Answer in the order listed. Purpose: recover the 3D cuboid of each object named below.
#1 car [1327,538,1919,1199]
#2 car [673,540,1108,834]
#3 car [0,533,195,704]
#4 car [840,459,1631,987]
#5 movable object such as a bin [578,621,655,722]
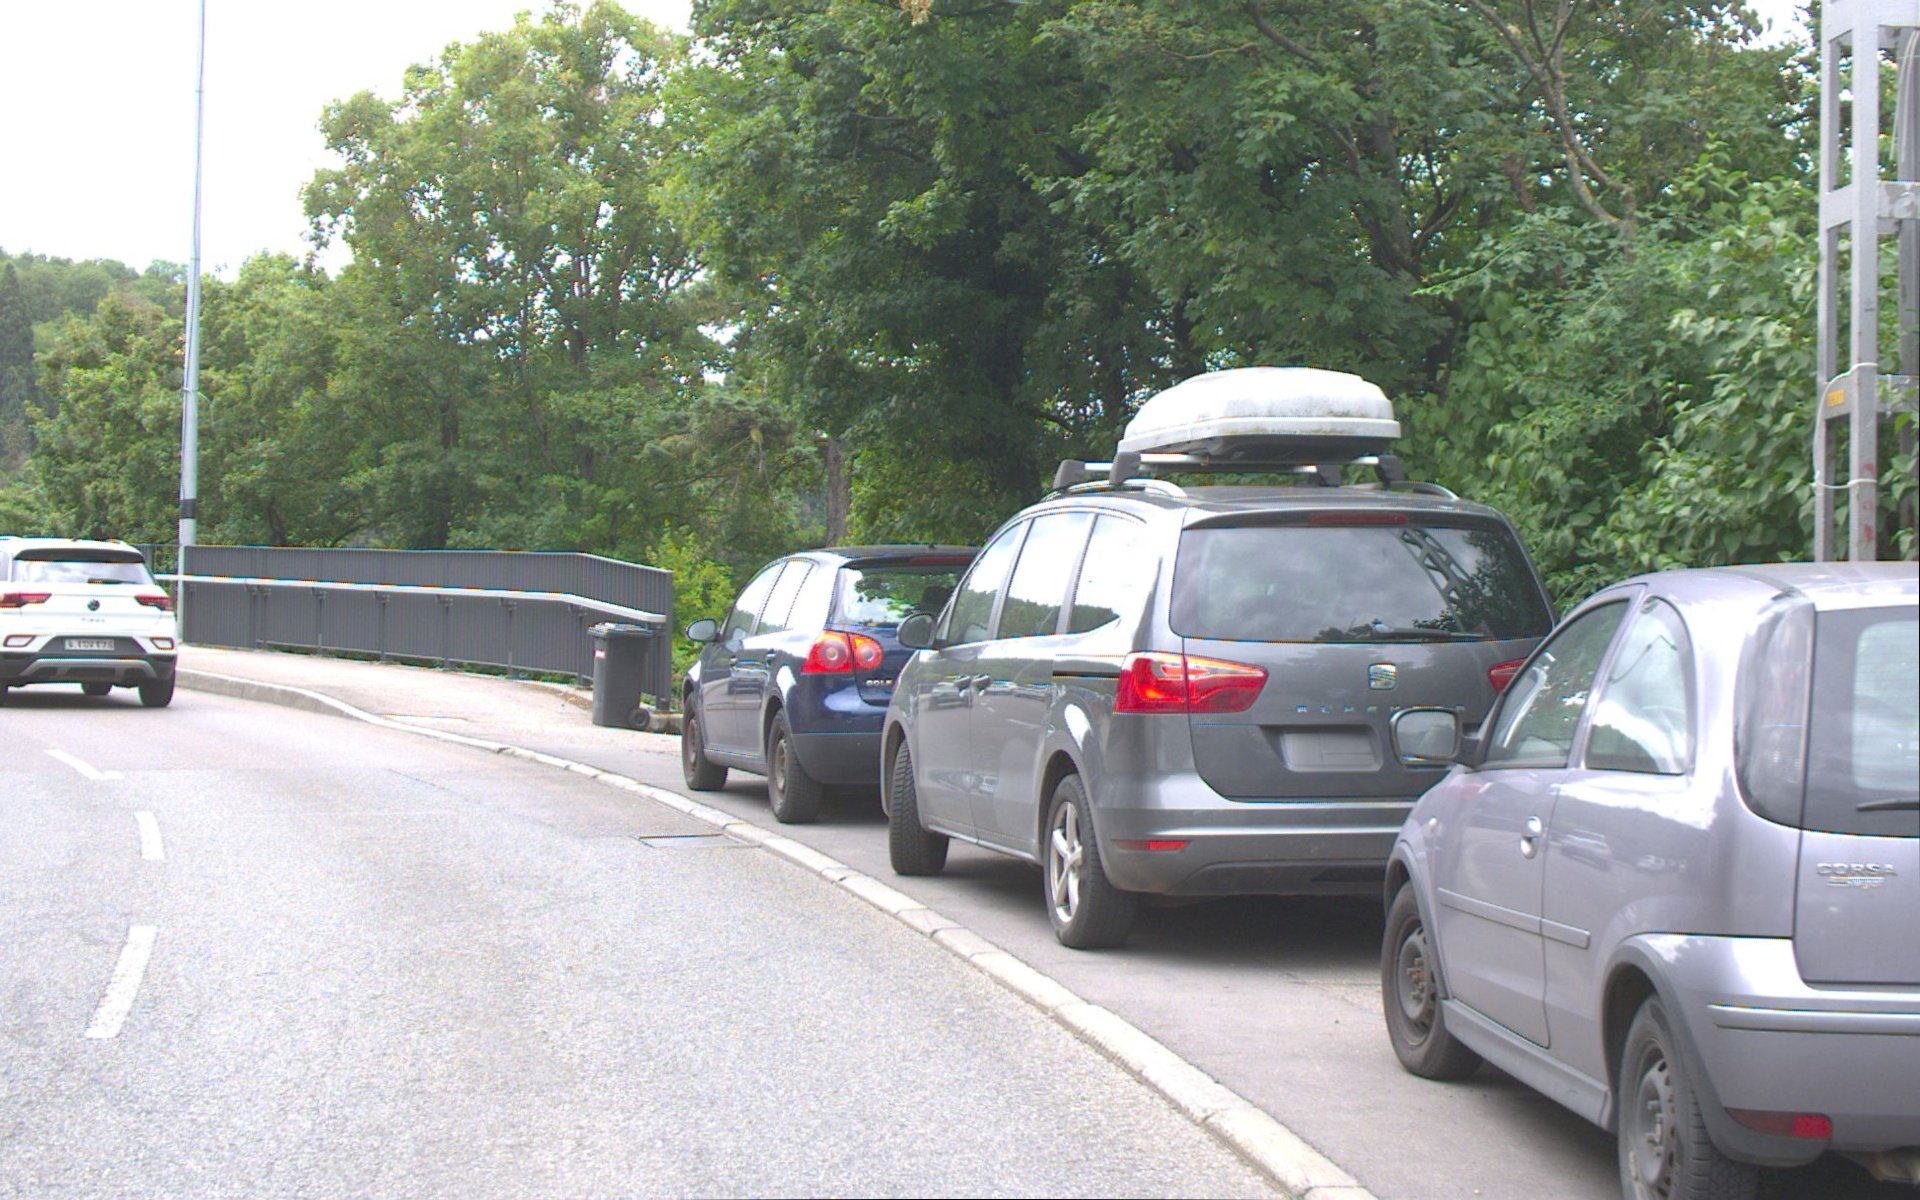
[{"bbox_3d":[2.036,0.614,8.331,1.641,1.459,4.000,1,0,-3],"label":"car"},{"bbox_3d":[-0.511,0.424,19.723,1.659,1.482,4.036,1,1,-13],"label":"car"},{"bbox_3d":[-8.762,0.153,32.879,1.867,1.531,3.804,1,0,-28],"label":"car"},{"bbox_3d":[0.885,0.390,13.953,1.798,1.766,4.609,1,1,-14],"label":"car"},{"bbox_3d":[-3.119,0.648,31.219,0.520,0.878,0.532,3,0,-24],"label":"movable object such as a bin"}]
